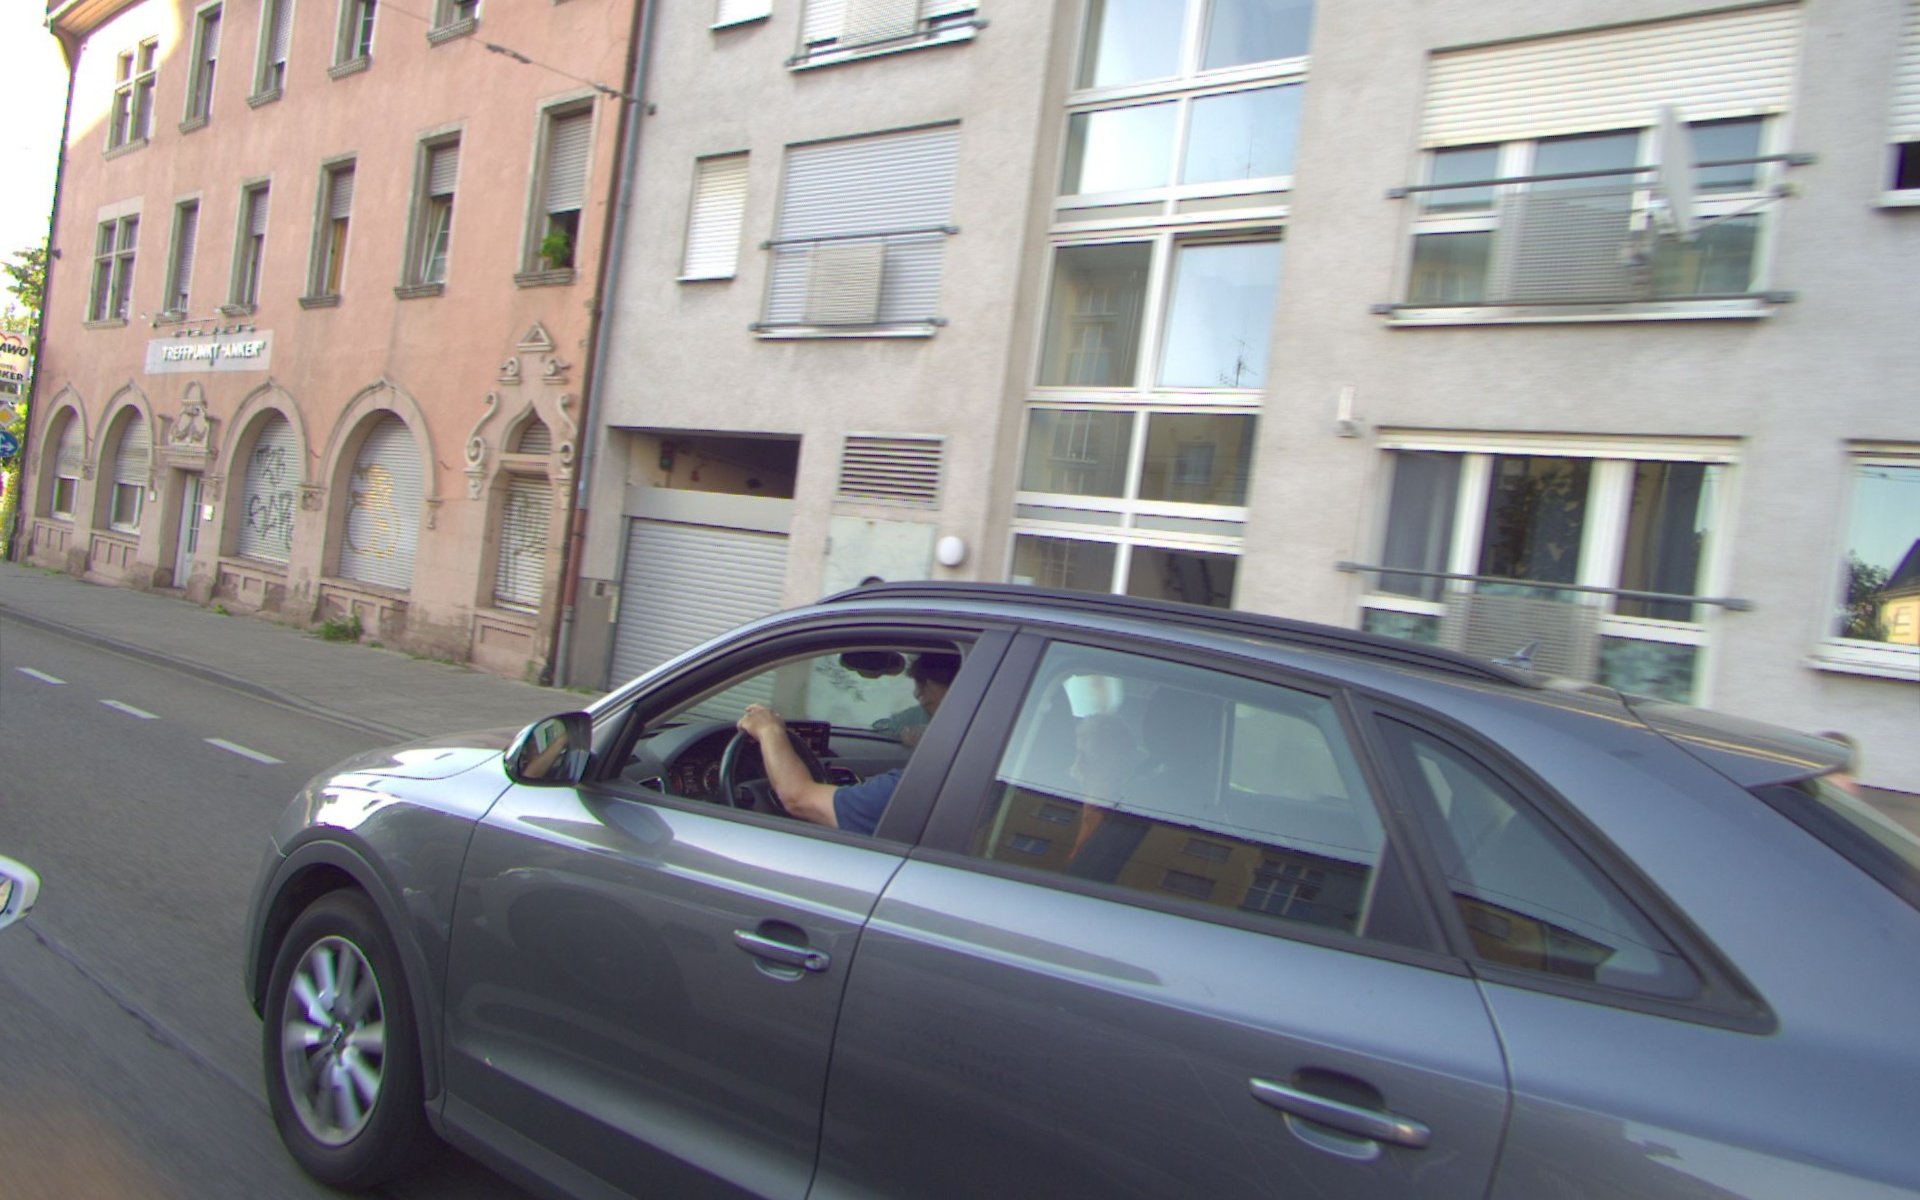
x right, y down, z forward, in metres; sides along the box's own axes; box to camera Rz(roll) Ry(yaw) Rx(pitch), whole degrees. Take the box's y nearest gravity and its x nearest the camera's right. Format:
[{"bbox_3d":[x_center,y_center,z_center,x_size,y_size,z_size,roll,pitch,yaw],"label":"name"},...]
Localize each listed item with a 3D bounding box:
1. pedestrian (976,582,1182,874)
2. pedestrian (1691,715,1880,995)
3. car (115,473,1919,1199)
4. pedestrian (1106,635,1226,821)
[{"bbox_3d":[0.843,0.846,7.053,0.979,1.794,0.830,8,1,32],"label":"pedestrian"},{"bbox_3d":[4.574,1.375,5.616,0.599,1.361,0.515,6,1,28],"label":"pedestrian"},{"bbox_3d":[-0.208,0.731,2.596,4.000,1.607,1.769,8,0,32],"label":"car"},{"bbox_3d":[1.558,0.937,7.578,0.575,1.267,0.588,8,1,32],"label":"pedestrian"}]
